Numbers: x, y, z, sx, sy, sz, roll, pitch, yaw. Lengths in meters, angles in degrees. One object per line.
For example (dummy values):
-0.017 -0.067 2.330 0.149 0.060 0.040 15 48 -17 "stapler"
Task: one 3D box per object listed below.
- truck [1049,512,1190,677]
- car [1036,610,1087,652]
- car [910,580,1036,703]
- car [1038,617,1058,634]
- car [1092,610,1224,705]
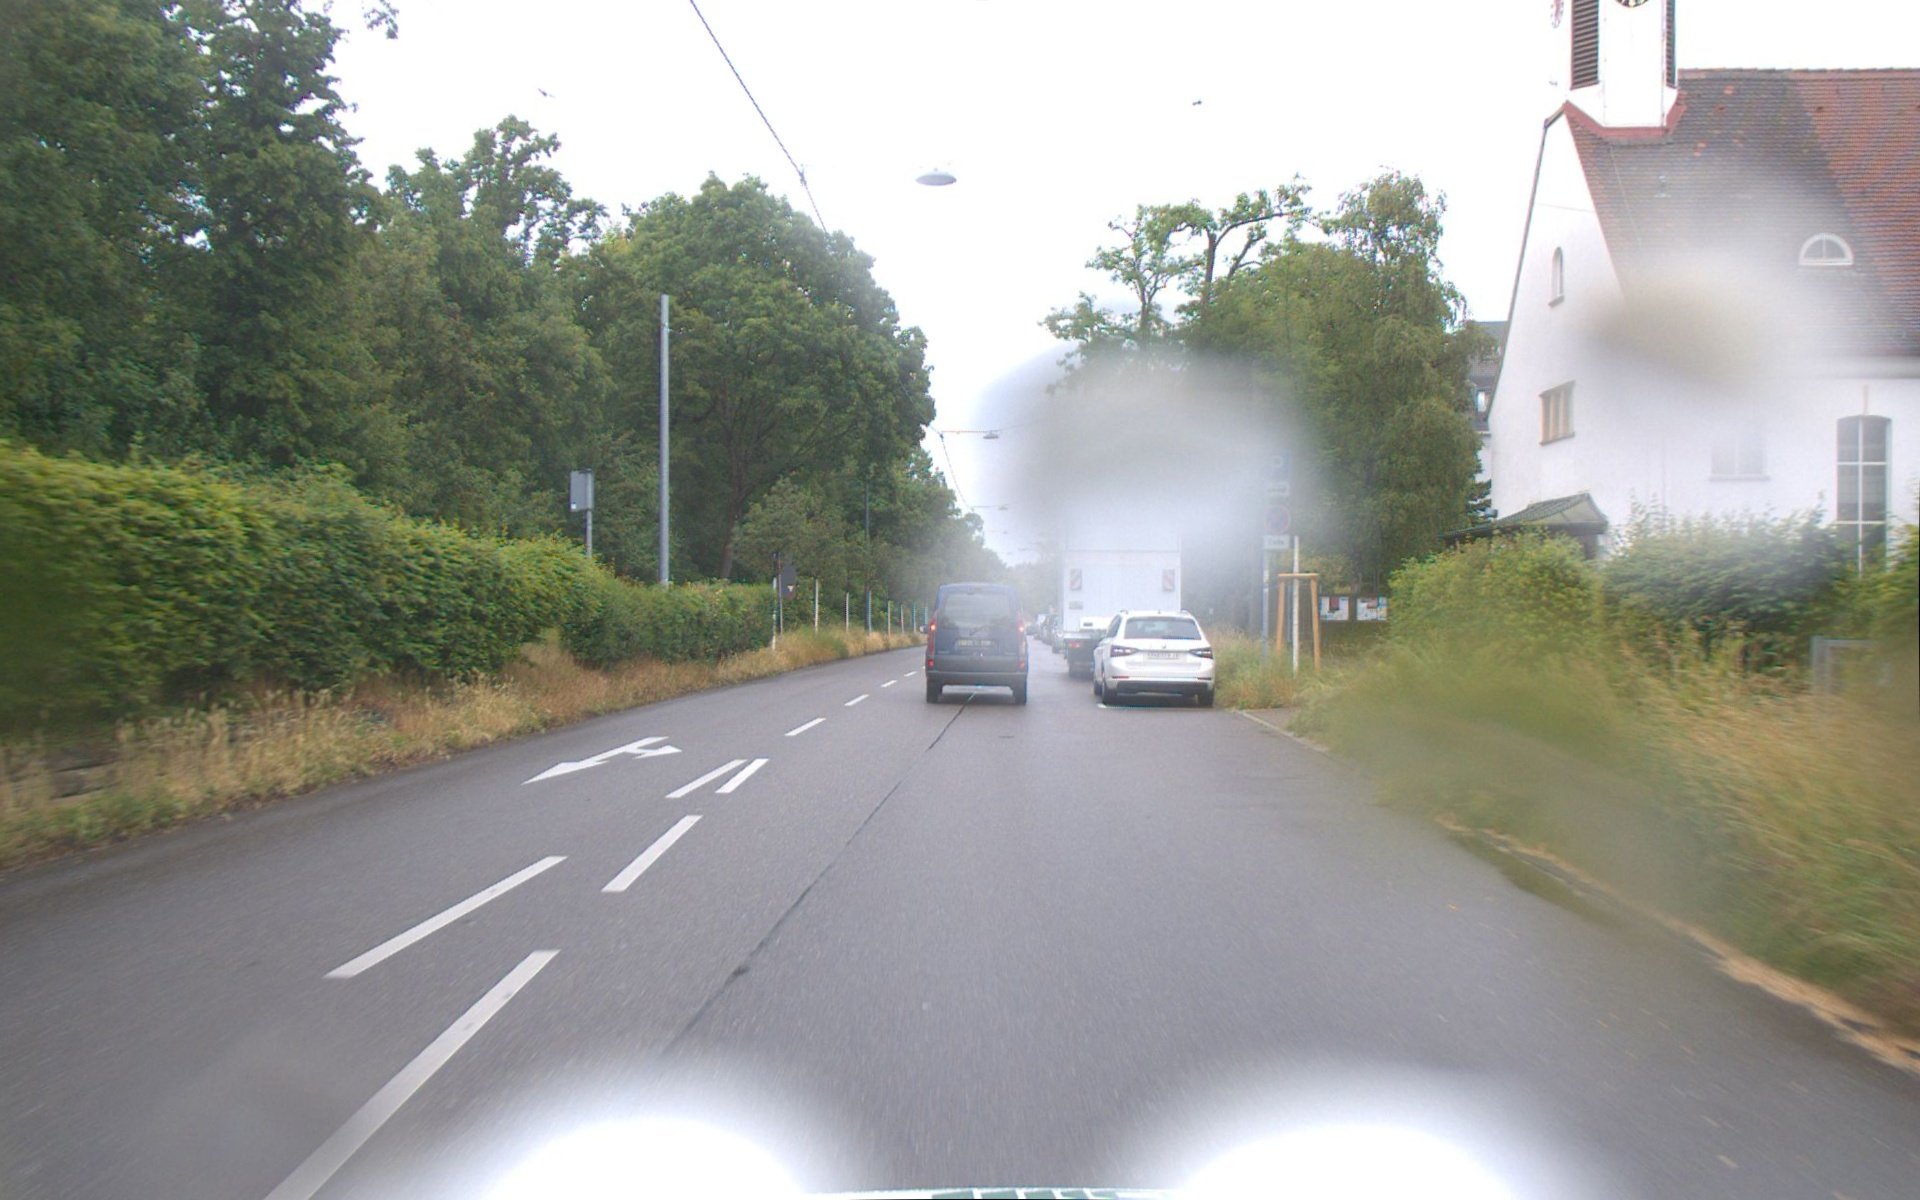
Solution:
3.537 -0.110 38.195 2.675 3.446 6.686 -1 0 1 "truck"
4.061 1.216 66.516 1.952 1.613 4.001 -1 0 2 "car"
0.140 0.629 26.978 1.773 1.829 3.997 -1 0 -4 "car"
8.852 2.561 166.835 1.952 1.613 4.001 -1 0 2 "car"
3.200 0.889 27.441 1.775 1.404 4.286 -1 0 2 "car"
